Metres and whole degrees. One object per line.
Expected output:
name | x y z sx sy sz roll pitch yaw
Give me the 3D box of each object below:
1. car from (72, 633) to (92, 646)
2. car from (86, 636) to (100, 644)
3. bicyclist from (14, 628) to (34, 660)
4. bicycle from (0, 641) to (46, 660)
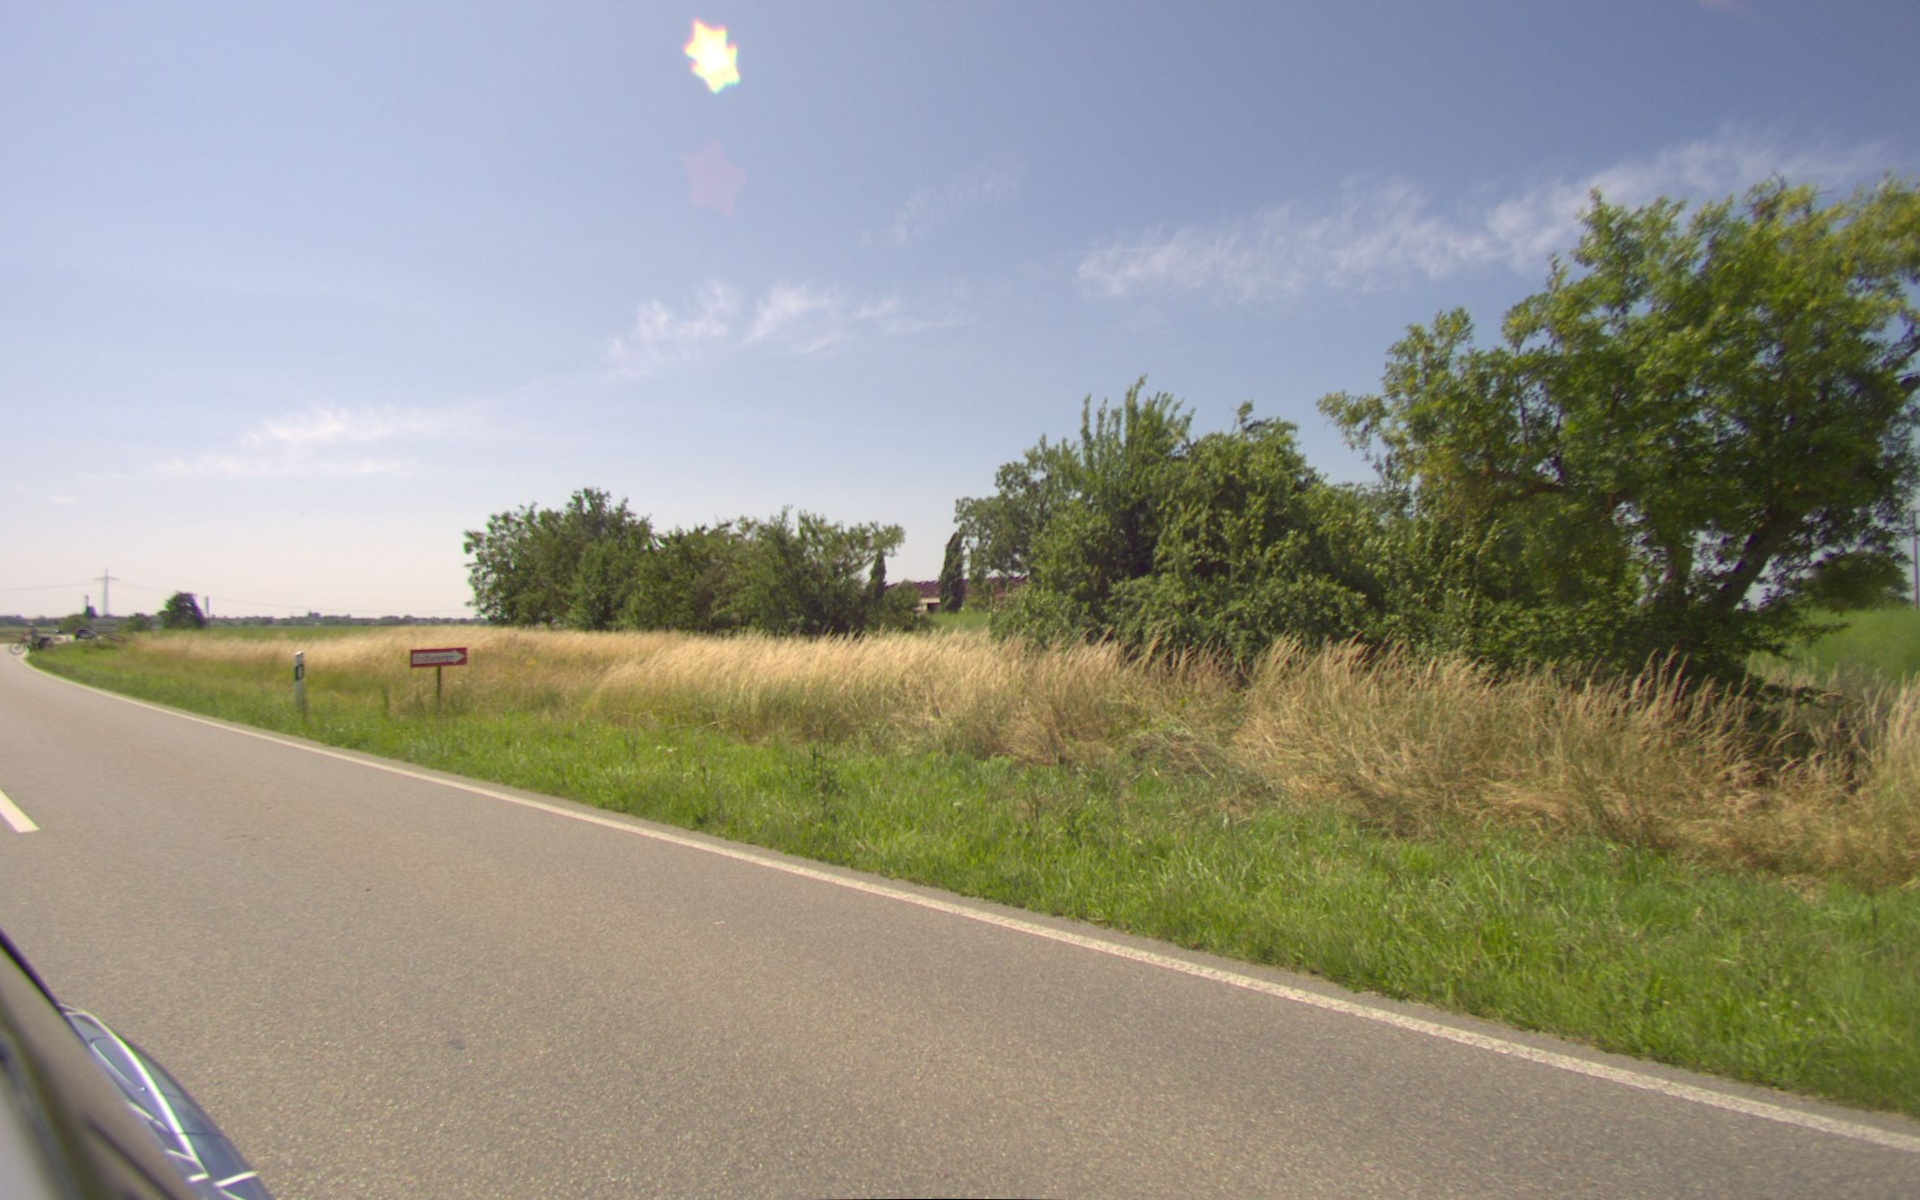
car | -129.756 5.824 149.561 1.909 1.765 5.213 3 -4 -39
car | -156.082 7.237 182.263 1.719 1.367 4.426 3 -3 -39
bicyclist | -52.780 2.490 57.092 0.689 1.771 0.664 0 -1 -31
bicycle | -52.848 2.865 57.042 1.892 1.000 0.684 0 -1 -31
